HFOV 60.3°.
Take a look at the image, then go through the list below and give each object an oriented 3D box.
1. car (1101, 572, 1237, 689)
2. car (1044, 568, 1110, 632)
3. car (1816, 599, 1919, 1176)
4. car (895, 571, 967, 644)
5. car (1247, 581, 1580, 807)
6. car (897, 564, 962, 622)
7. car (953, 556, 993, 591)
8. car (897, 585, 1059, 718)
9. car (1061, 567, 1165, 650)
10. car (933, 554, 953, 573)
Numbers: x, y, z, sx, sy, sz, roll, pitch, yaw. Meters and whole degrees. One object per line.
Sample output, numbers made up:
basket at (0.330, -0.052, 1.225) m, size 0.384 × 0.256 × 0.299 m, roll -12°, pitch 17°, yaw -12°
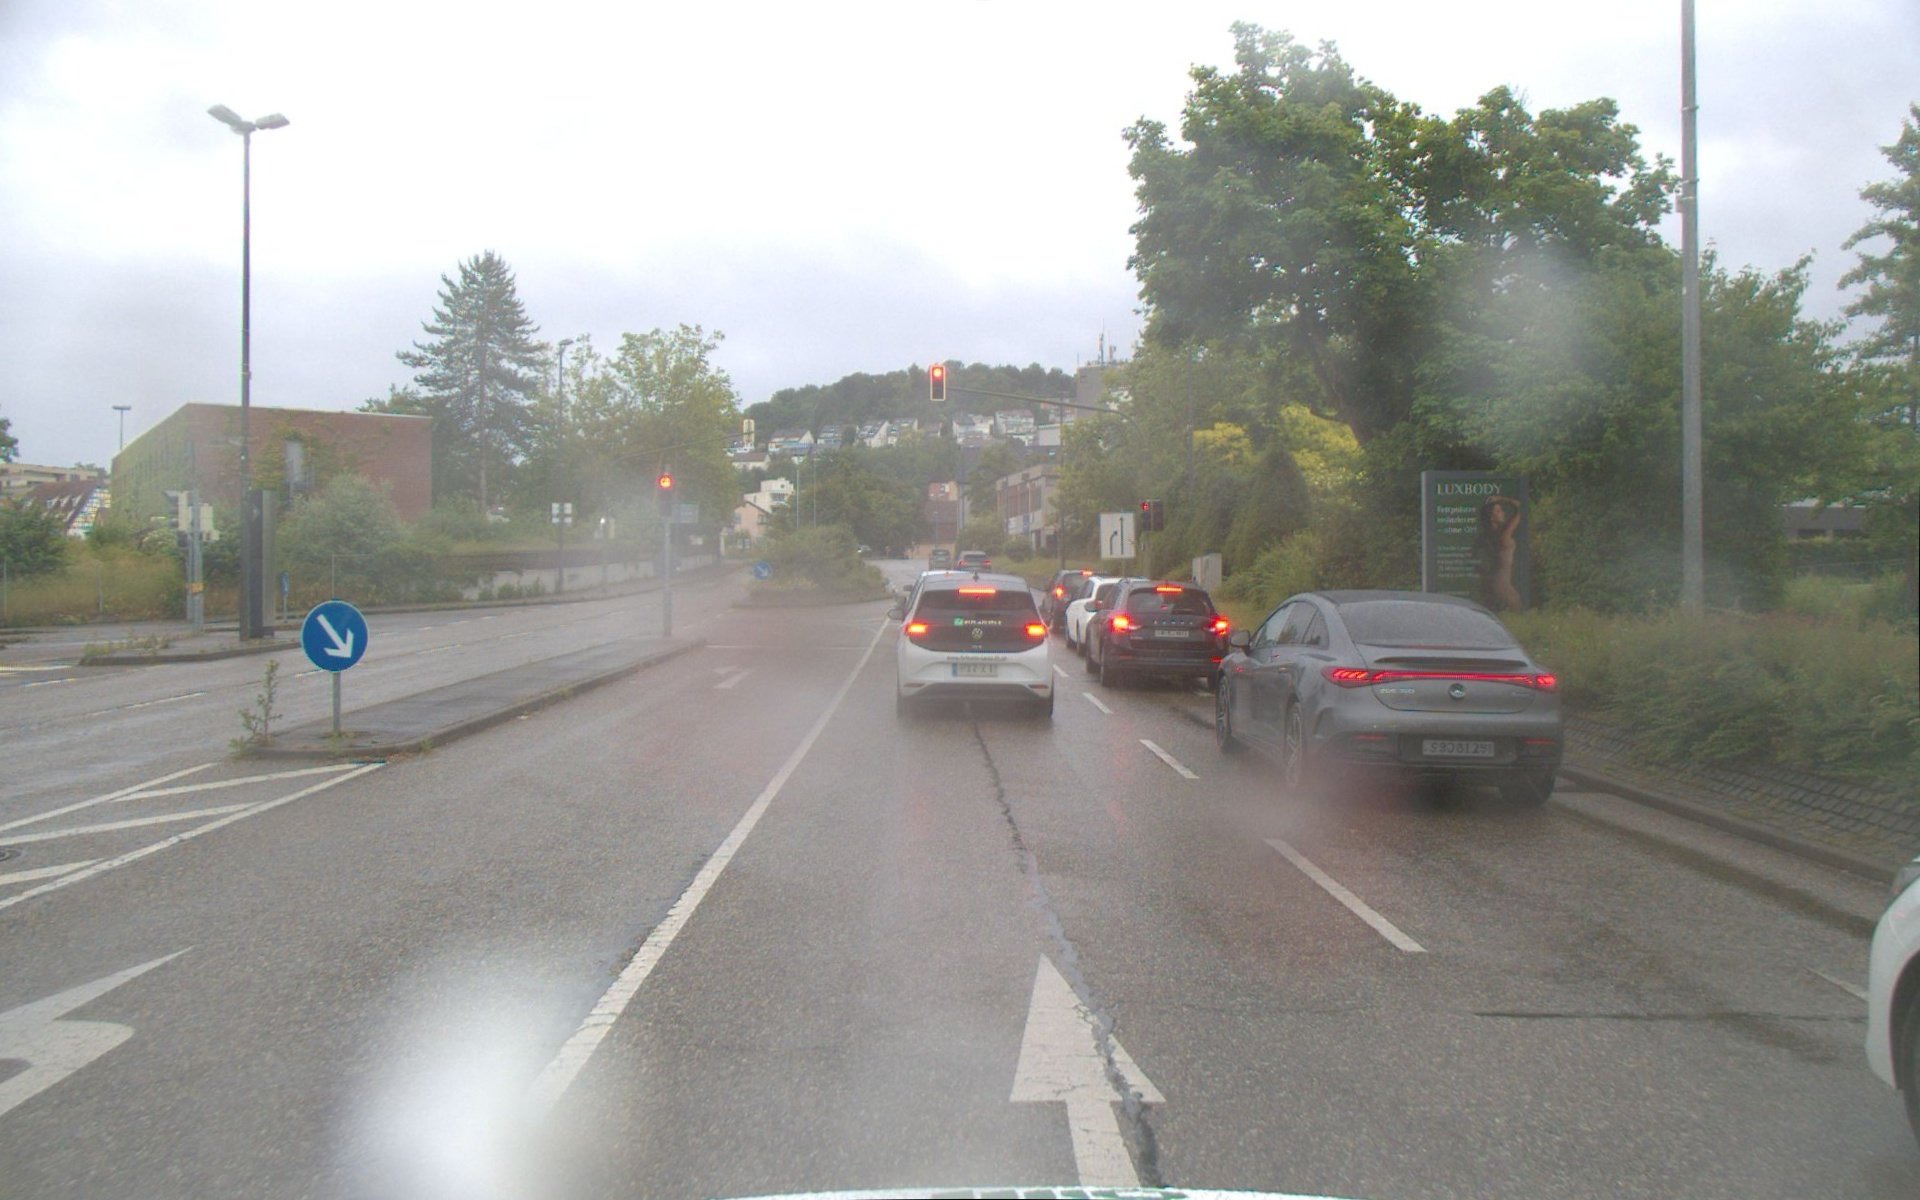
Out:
car at (2.938, 0.475, 23.825) m, size 1.613 × 1.511 × 3.366 m, roll -2°, pitch -2°, yaw 2°
car at (2.789, -0.022, 39.830) m, size 1.289 × 1.421 × 3.079 m, roll -2°, pitch 2°, yaw -1°
car at (3.440, 0.774, 3.015) m, size 1.656 × 1.546 × 3.932 m, roll 2°, pitch -1°, yaw -1°
car at (-0.536, 0.157, 28.961) m, size 1.188 × 1.176 × 2.269 m, roll -1°, pitch -3°, yaw -2°
car at (3.330, 0.612, 12.775) m, size 1.698 × 1.412 × 3.353 m, roll 1°, pitch 2°, yaw 1°
car at (-0.654, -0.130, 37.182) m, size 1.356 × 1.146 × 2.610 m, roll -2°, pitch -2°, yaw 0°
car at (0.684, -1.415, 88.523) m, size 1.759 × 1.596 × 3.522 m, roll -1°, pitch -2°, yaw -5°
car at (0.164, 0.530, 19.118) m, size 1.706 × 1.318 × 3.334 m, roll 0°, pitch 2°, yaw -1°
car at (2.892, 0.215, 31.959) m, size 1.533 × 1.422 × 3.956 m, roll -2°, pitch -2°, yaw -1°
car at (-1.222, -2.581, 116.534) m, size 1.339 × 1.177 × 2.425 m, roll -1°, pitch -2°, yaw -2°
